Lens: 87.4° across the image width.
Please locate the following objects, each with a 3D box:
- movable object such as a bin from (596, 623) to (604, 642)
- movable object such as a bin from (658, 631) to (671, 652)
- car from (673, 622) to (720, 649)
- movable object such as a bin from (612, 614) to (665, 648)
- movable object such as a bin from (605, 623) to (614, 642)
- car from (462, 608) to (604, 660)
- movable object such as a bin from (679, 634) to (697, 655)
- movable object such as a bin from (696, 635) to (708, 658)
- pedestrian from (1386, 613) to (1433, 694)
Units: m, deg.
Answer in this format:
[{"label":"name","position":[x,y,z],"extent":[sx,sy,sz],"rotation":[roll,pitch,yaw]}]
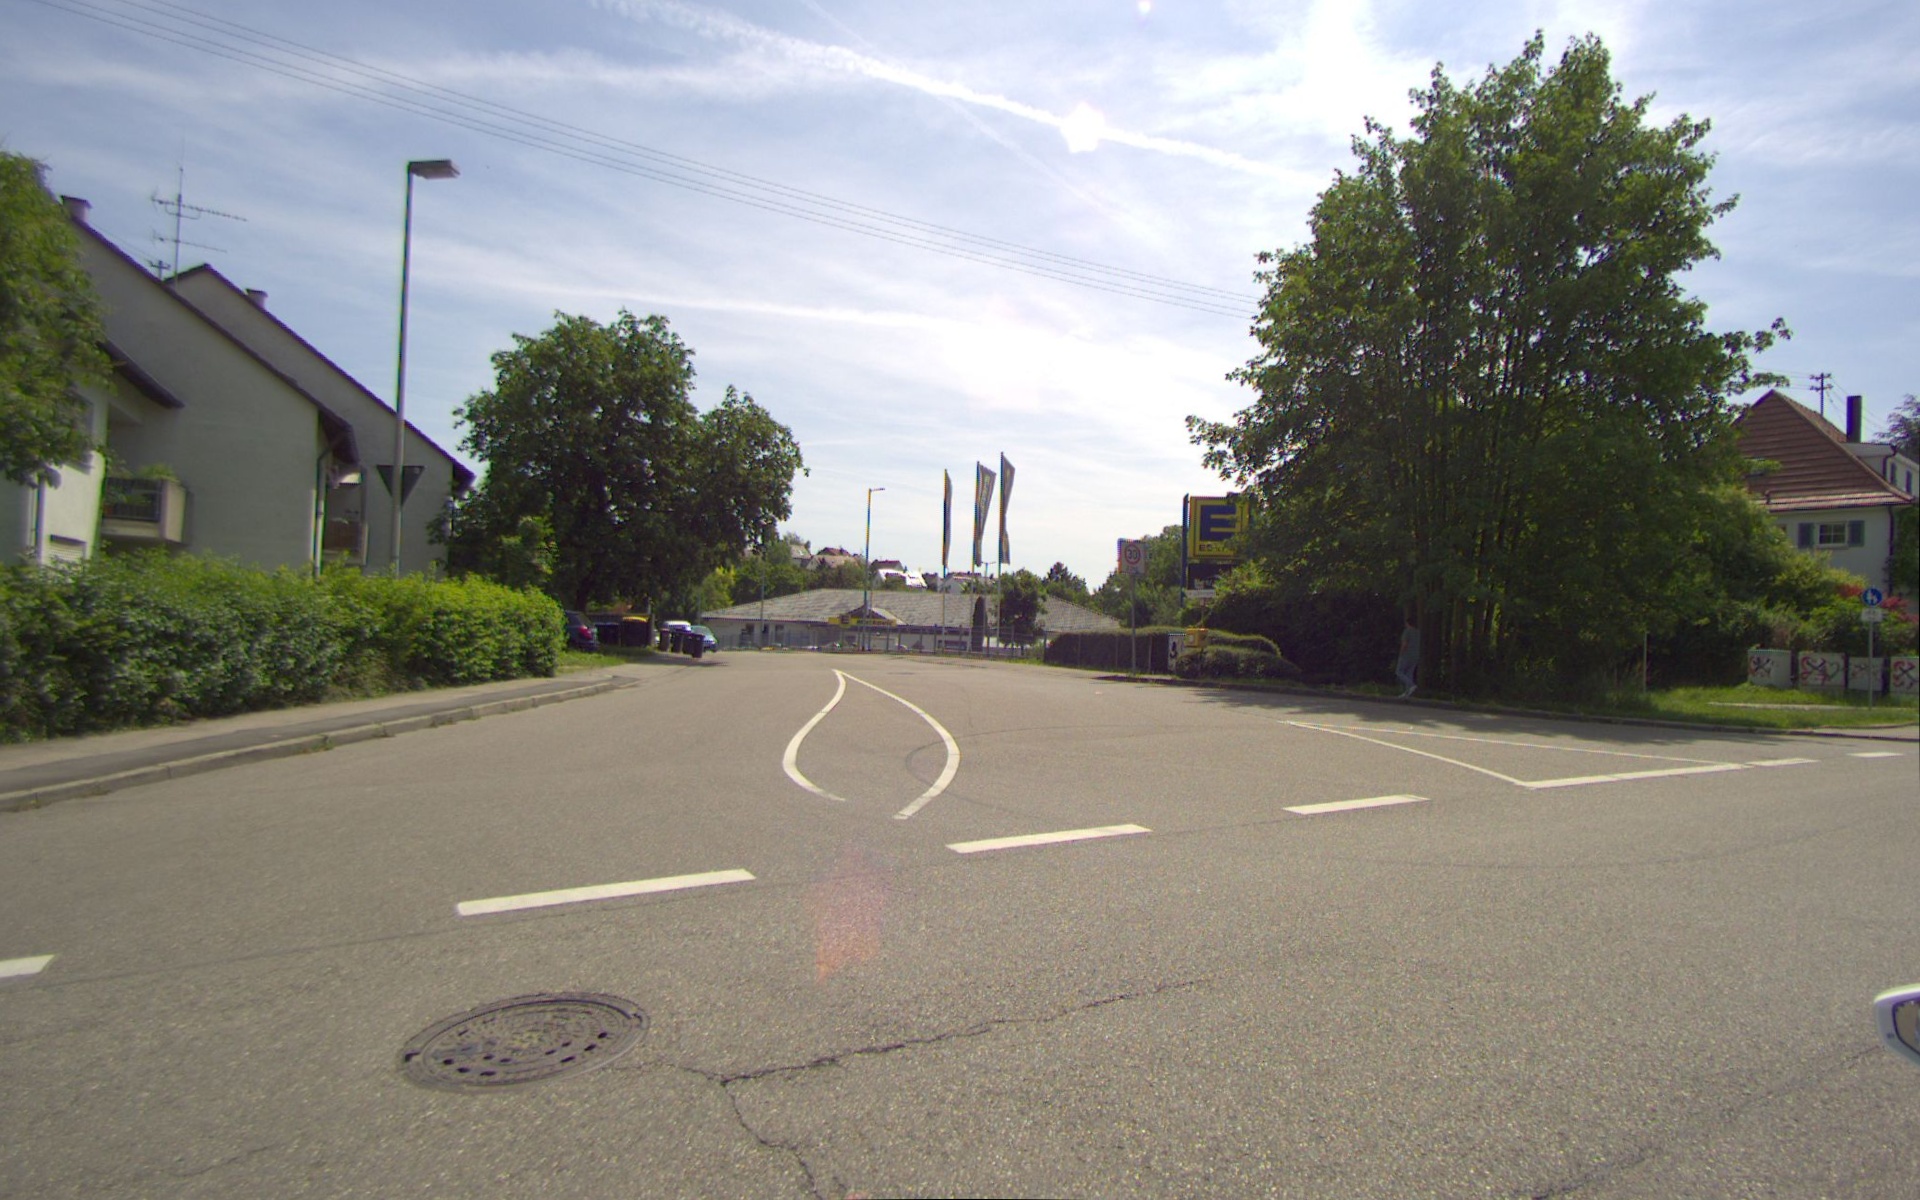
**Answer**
[{"label":"movable object such as a bin","position":[-15.565,1.404,43.440],"extent":[0.233,0.815,0.229],"rotation":[1,-1,44]},{"label":"movable object such as a bin","position":[-12.662,1.777,43.064],"extent":[0.364,0.867,0.373],"rotation":[2,-1,8]},{"label":"car","position":[-14.250,1.947,54.152],"extent":[1.734,1.352,3.843],"rotation":[1,-3,-26]},{"label":"movable object such as a bin","position":[-13.800,1.343,43.179],"extent":[1.485,1.405,2.208],"rotation":[0,-2,2]},{"label":"movable object such as a bin","position":[-15.237,1.427,43.657],"extent":[0.233,0.815,0.229],"rotation":[1,-1,44]},{"label":"car","position":[-12.359,0.997,29.262],"extent":[3.545,1.380,1.394],"rotation":[2,-1,-13]},{"label":"movable object such as a bin","position":[-11.533,1.884,42.645],"extent":[0.510,0.886,0.516],"rotation":[2,-1,21]},{"label":"movable object such as a bin","position":[-10.118,1.821,39.434],"extent":[0.391,0.886,0.390],"rotation":[2,-1,-23]},{"label":"pedestrian","position":[10.200,1.211,22.809],"extent":[0.678,1.800,0.736],"rotation":[2,-3,-13]}]
